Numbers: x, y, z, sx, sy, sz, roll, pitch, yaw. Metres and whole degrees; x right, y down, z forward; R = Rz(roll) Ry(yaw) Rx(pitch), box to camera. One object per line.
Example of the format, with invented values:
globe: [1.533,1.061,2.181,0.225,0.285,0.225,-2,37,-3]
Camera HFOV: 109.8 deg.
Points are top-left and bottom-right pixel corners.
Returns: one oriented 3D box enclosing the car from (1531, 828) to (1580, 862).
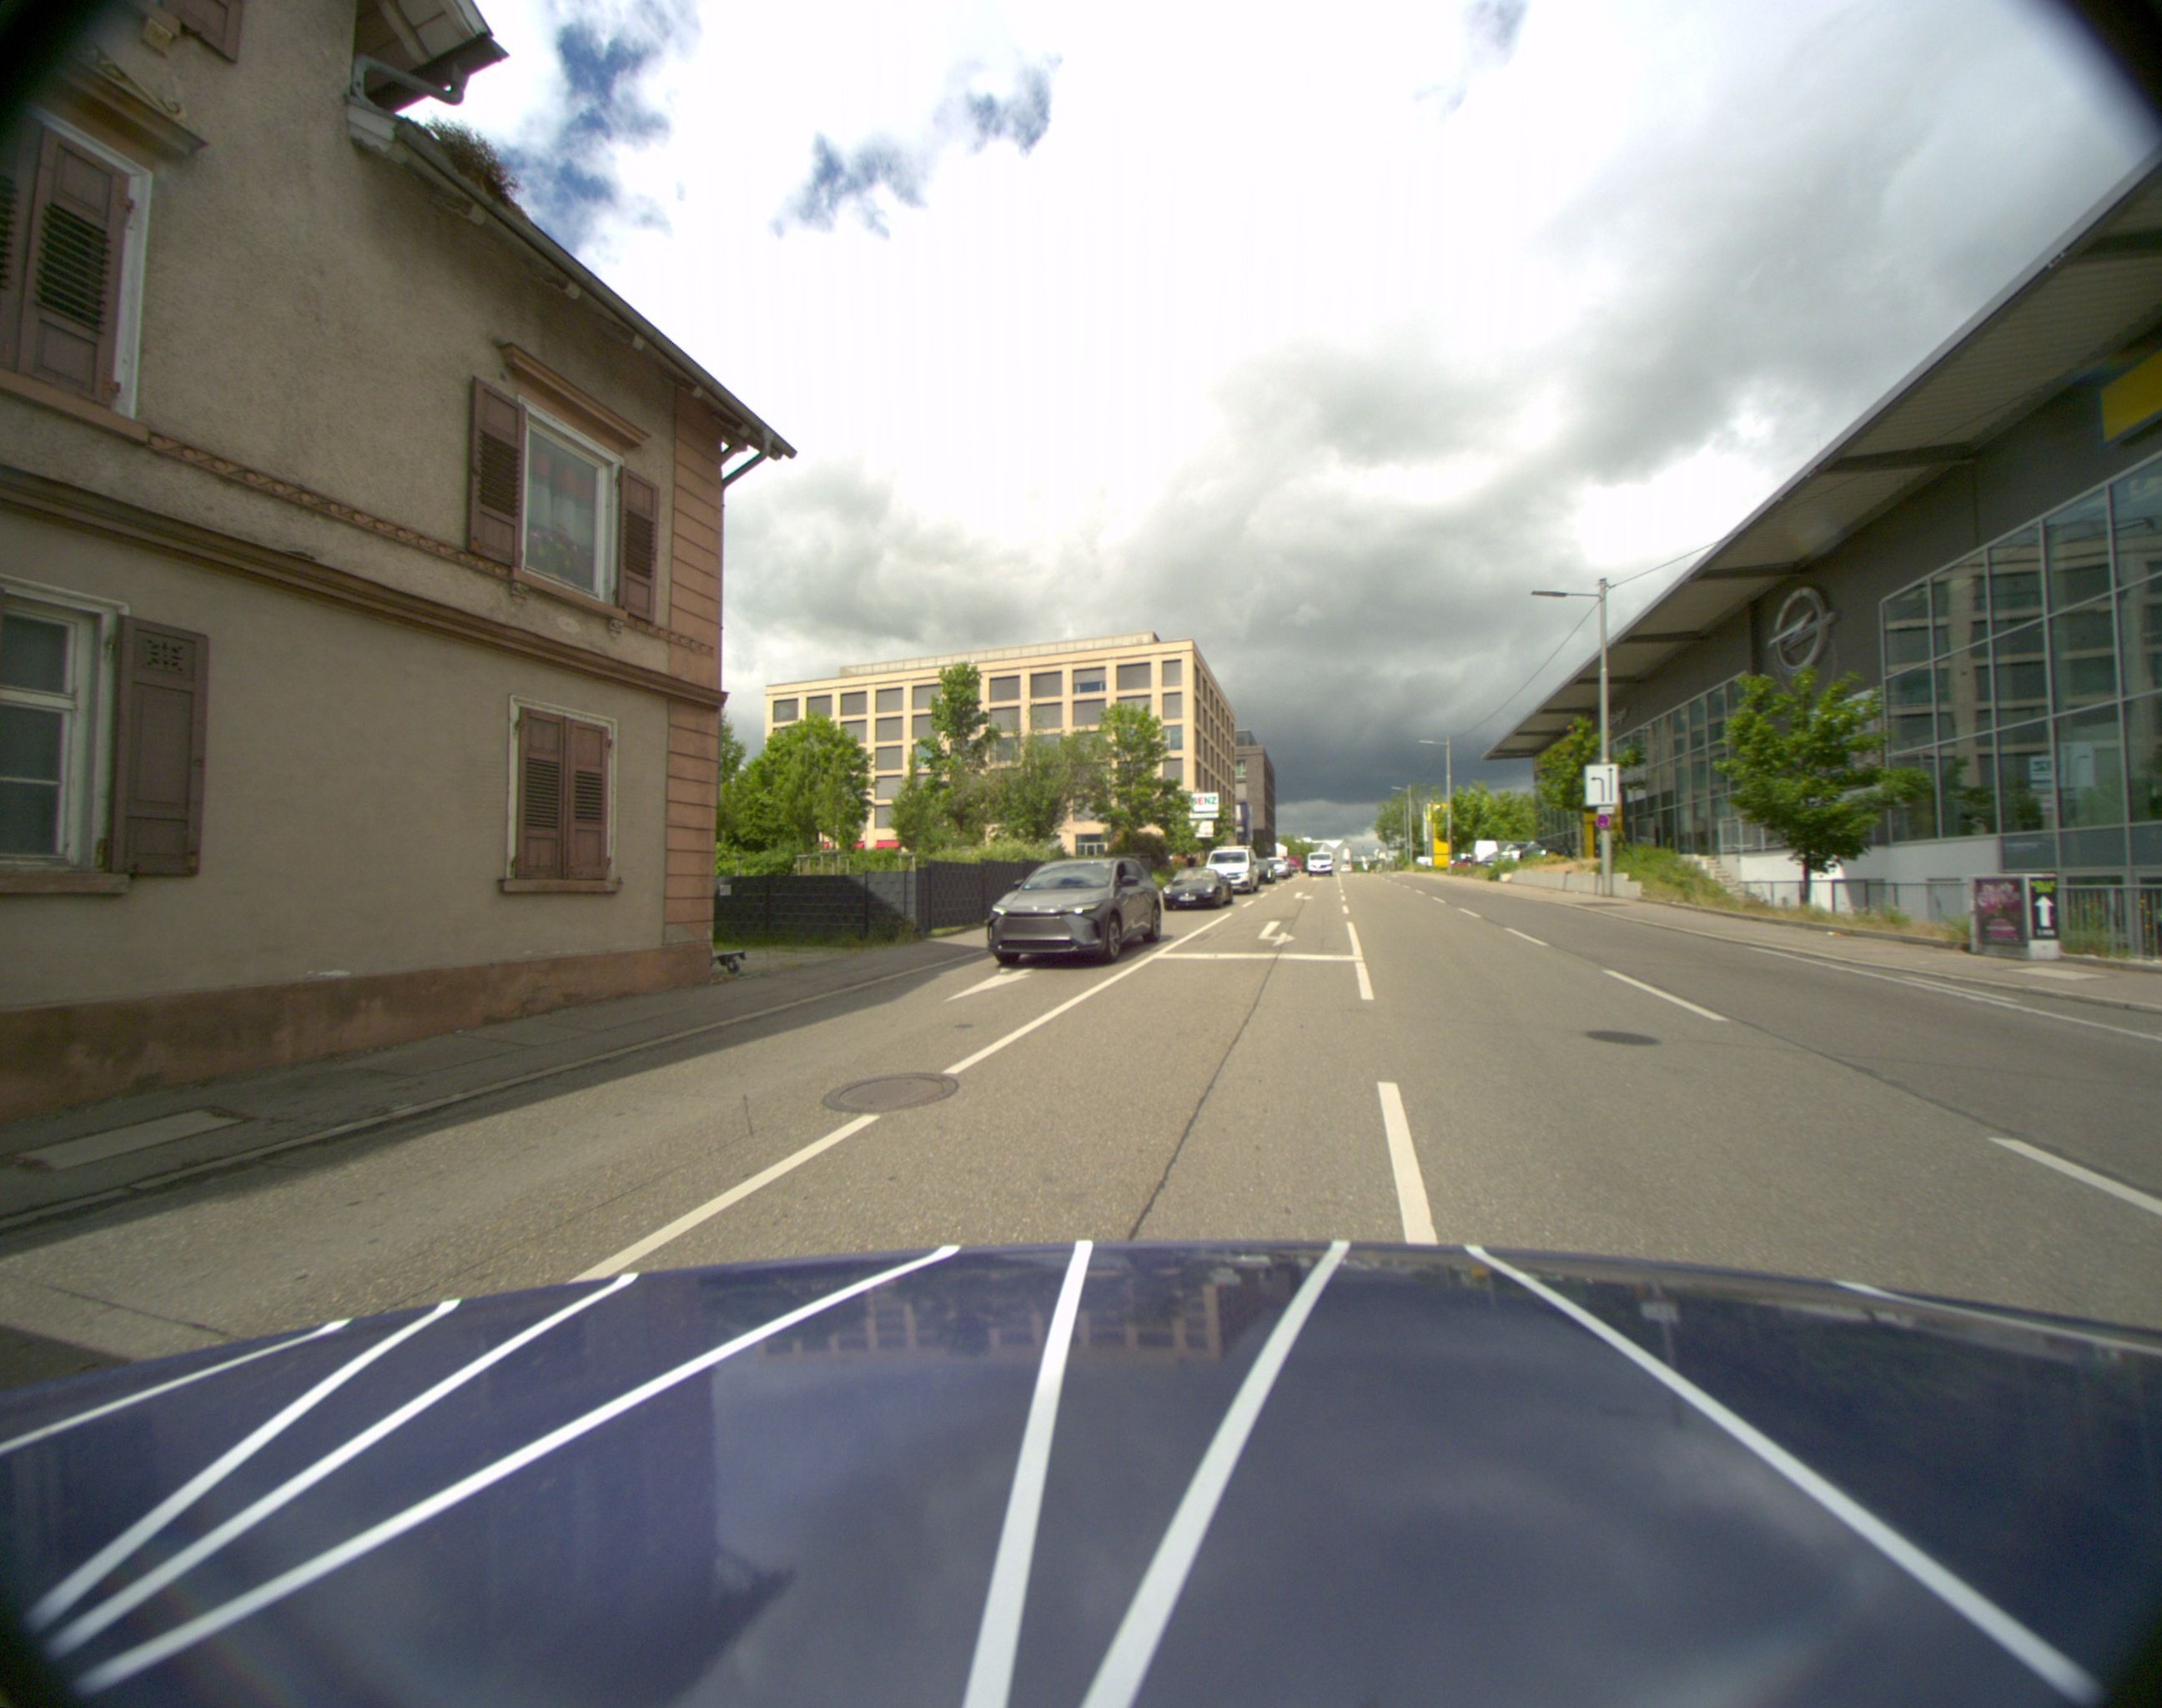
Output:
car: [25.555,-0.471,40.864,1.994,1.718,4.008,0,0,36]

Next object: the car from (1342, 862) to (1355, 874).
car: [44.959,2.350,127.641,1.996,1.731,4.553,-1,0,18]

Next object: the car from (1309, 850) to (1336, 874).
car: [19.847,0.605,62.365,1.996,1.819,4.553,-1,0,19]

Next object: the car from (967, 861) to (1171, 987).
car: [0.054,0.976,12.596,1.996,1.619,4.586,-1,0,17]

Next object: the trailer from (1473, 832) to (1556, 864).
trailer: [32.564,-0.441,57.249,5.067,2.335,2.002,-1,1,17]

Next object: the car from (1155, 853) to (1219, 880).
car: [7.005,0.837,50.284,3.992,1.723,1.825,-1,0,15]

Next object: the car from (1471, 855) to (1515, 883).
car: [27.945,0.979,51.442,1.994,1.783,4.008,0,0,38]

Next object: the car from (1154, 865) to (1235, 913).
car: [3.677,1.060,23.975,1.822,1.286,4.043,-2,0,18]

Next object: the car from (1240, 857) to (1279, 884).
car: [10.438,0.915,44.257,1.816,1.454,4.005,0,0,18]

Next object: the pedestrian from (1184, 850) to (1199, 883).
pedestrian: [5.712,0.634,39.282,0.601,1.710,0.554,-1,1,18]

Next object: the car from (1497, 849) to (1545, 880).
car: [26.658,0.589,46.020,1.994,1.783,4.008,0,0,38]

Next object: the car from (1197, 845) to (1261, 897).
car: [6.530,0.672,33.024,2.086,2.037,4.766,-2,0,18]

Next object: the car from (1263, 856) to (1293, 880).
car: [14.139,0.979,54.445,1.816,1.577,4.005,0,0,18]

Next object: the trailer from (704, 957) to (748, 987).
trailer: [-4.918,1.629,10.523,0.476,0.318,0.358,-2,0,-37]
